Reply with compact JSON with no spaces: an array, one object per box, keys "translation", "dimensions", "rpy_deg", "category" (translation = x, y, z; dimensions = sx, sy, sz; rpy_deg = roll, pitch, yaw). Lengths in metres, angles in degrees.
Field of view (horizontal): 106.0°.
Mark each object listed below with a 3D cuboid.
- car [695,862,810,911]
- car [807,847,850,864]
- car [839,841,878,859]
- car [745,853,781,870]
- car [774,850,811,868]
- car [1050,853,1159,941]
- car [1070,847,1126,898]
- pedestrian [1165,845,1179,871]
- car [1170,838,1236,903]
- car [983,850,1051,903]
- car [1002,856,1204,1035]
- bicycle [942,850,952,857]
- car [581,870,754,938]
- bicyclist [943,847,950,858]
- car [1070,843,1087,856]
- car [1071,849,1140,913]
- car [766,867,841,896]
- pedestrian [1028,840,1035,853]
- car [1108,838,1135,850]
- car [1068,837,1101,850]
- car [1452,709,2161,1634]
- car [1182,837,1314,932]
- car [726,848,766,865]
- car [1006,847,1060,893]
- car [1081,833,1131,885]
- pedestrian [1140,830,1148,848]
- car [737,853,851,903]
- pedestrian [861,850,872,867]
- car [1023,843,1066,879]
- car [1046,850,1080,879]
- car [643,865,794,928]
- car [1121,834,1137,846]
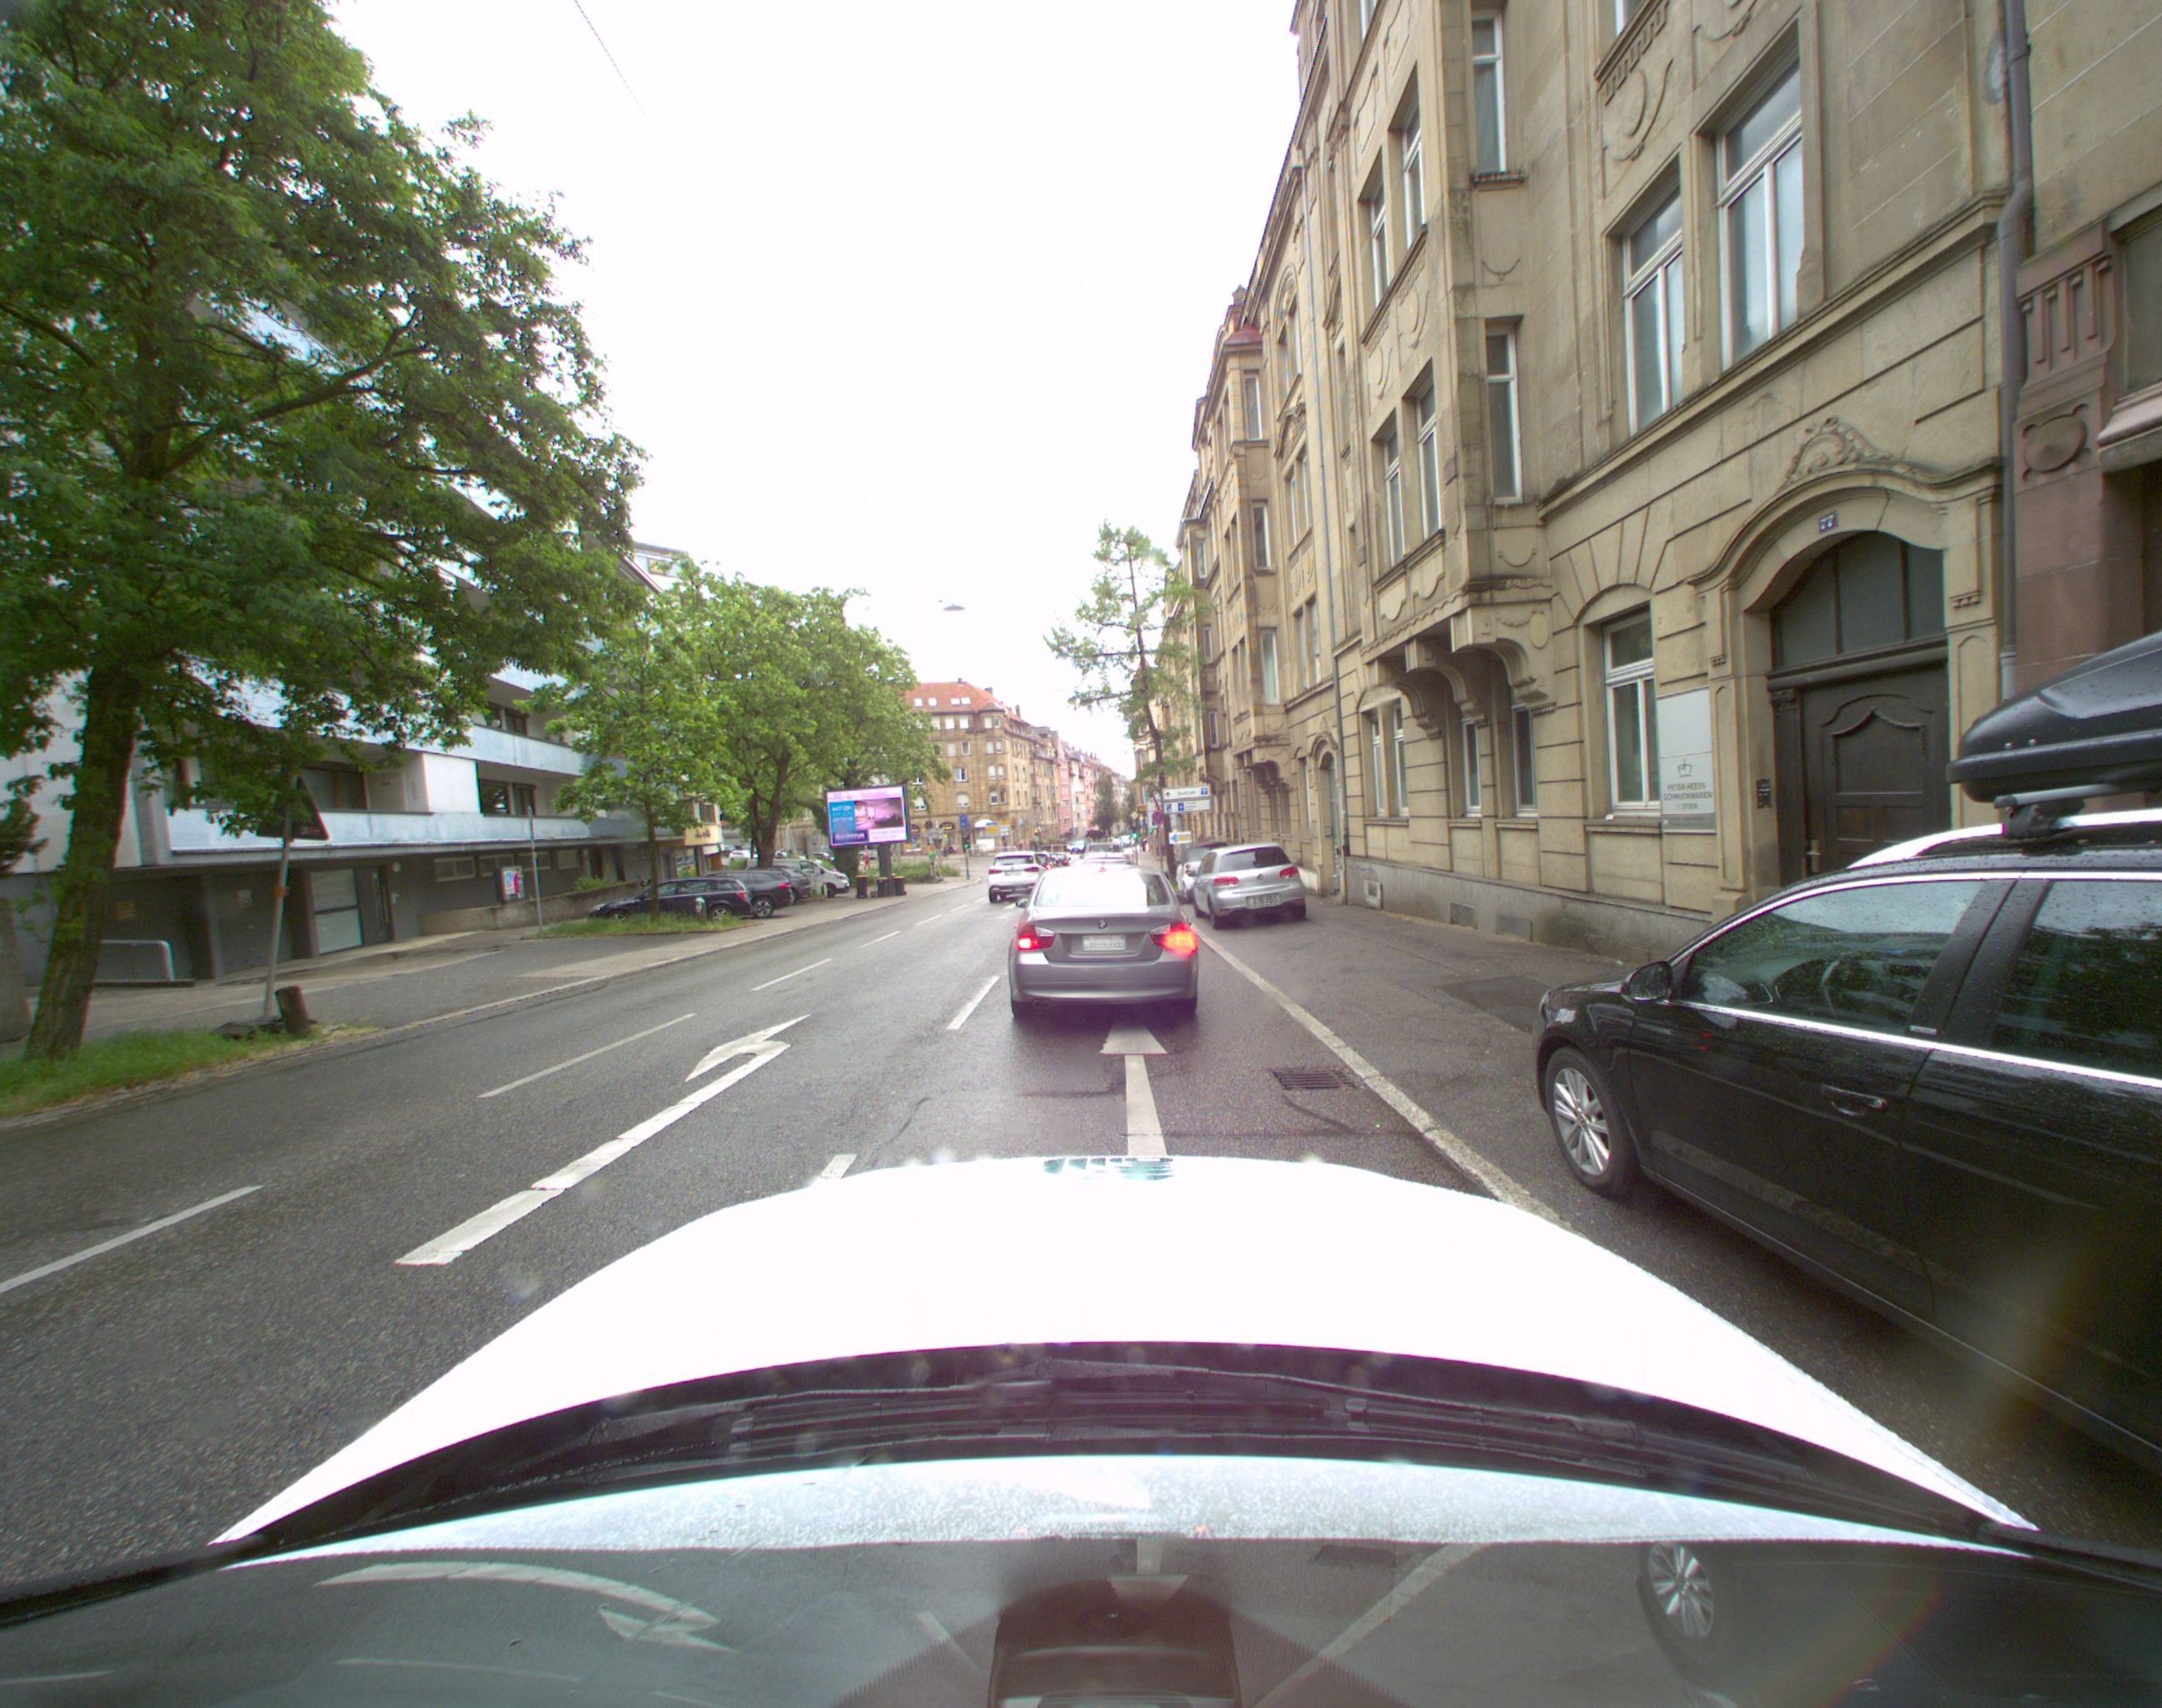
[{"translation":[-13.895,1.358,34.757],"dimensions":[4.370,1.784,1.927],"rpy_deg":[-3,0,-19],"category":"car"},{"translation":[-27.022,0.187,87.122],"dimensions":[4.194,1.726,2.013],"rpy_deg":[-1,2,32],"category":"car"},{"translation":[-26.551,-0.519,97.337],"dimensions":[4.238,2.101,2.013],"rpy_deg":[0,2,30],"category":"car"},{"translation":[-41.409,0.929,106.069],"dimensions":[4.238,2.101,2.013],"rpy_deg":[0,2,30],"category":"car"},{"translation":[-36.675,0.617,103.489],"dimensions":[4.238,2.101,2.013],"rpy_deg":[0,2,30],"category":"car"},{"translation":[0.498,0.709,15.448],"dimensions":[1.752,1.383,4.003],"rpy_deg":[-2,0,3],"category":"car"},{"translation":[0.657,0.588,28.058],"dimensions":[1.752,1.567,4.003],"rpy_deg":[-2,0,3],"category":"car"},{"translation":[5.482,0.245,49.094],"dimensions":[0.629,1.508,0.693],"rpy_deg":[-7,0,1],"category":"pedestrian"},{"translation":[3.333,0.424,22.708],"dimensions":[1.295,1.543,2.977],"rpy_deg":[-7,0,1],"category":"car"},{"translation":[-2.114,0.701,27.885],"dimensions":[1.861,1.625,4.001],"rpy_deg":[-2,0,1],"category":"car"},{"translation":[0.272,0.763,8.520],"dimensions":[1.617,1.383,3.618],"rpy_deg":[-2,0,3],"category":"car"},{"translation":[-15.376,-0.037,93.177],"dimensions":[0.569,0.858,1.527],"rpy_deg":[-1,-1,14],"category":"bicycle"},{"translation":[-12.276,1.440,24.540],"dimensions":[4.373,1.574,1.930],"rpy_deg":[-4,0,-21],"category":"car"},{"translation":[-15.374,-0.147,93.153],"dimensions":[0.565,1.273,0.692],"rpy_deg":[-1,-1,14],"category":"bicyclist"},{"translation":[-0.268,-0.528,94.677],"dimensions":[1.709,1.450,3.743],"rpy_deg":[-3,0,1],"category":"car"},{"translation":[0.690,0.617,21.126],"dimensions":[1.588,1.464,4.003],"rpy_deg":[-1,0,3],"category":"car"},{"translation":[-16.185,1.574,47.623],"dimensions":[3.985,1.450,1.758],"rpy_deg":[-3,0,-19],"category":"car"},{"translation":[-6.175,-0.994,101.361],"dimensions":[0.727,1.577,0.530],"rpy_deg":[-3,0,10],"category":"pedestrian"},{"translation":[5.599,-1.324,112.967],"dimensions":[1.974,1.578,4.025],"rpy_deg":[-1,-1,34],"category":"car"},{"translation":[0.596,-1.605,130.383],"dimensions":[5.158,2.014,2.699],"rpy_deg":[0,-1,1],"category":"car"},{"translation":[2.735,0.467,1.989],"dimensions":[1.753,1.651,4.101],"rpy_deg":[-7,0,2],"category":"car"},{"translation":[3.188,0.525,16.290],"dimensions":[1.753,1.451,4.001],"rpy_deg":[-7,0,1],"category":"car"},{"translation":[-38.692,0.326,94.018],"dimensions":[4.195,1.726,2.013],"rpy_deg":[-2,3,31],"category":"car"},{"translation":[-1.915,0.617,33.568],"dimensions":[1.752,1.707,4.003],"rpy_deg":[-2,0,3],"category":"car"},{"translation":[1.077,0.209,35.281],"dimensions":[1.986,2.106,4.002],"rpy_deg":[-2,0,2],"category":"car"},{"translation":[6.836,-1.584,88.104],"dimensions":[0.740,1.910,0.659],"rpy_deg":[-3,0,1],"category":"pedestrian"},{"translation":[-14.028,1.147,40.000],"dimensions":[5.076,2.105,1.979],"rpy_deg":[-3,0,-19],"category":"car"},{"translation":[-20.813,0.464,79.023],"dimensions":[0.532,1.577,0.723],"rpy_deg":[-5,0,17],"category":"pedestrian"},{"translation":[-1.805,0.333,41.510],"dimensions":[1.752,1.707,4.003],"rpy_deg":[-2,0,3],"category":"car"},{"translation":[-1.101,0.623,51.781],"dimensions":[1.752,1.707,4.003],"rpy_deg":[-2,0,3],"category":"car"},{"translation":[-12.004,1.376,27.293],"dimensions":[4.382,1.672,1.842],"rpy_deg":[-4,0,-21],"category":"car"},{"translation":[7.125,-2.034,120.615],"dimensions":[1.983,1.578,4.008],"rpy_deg":[0,0,7],"category":"car"}]
